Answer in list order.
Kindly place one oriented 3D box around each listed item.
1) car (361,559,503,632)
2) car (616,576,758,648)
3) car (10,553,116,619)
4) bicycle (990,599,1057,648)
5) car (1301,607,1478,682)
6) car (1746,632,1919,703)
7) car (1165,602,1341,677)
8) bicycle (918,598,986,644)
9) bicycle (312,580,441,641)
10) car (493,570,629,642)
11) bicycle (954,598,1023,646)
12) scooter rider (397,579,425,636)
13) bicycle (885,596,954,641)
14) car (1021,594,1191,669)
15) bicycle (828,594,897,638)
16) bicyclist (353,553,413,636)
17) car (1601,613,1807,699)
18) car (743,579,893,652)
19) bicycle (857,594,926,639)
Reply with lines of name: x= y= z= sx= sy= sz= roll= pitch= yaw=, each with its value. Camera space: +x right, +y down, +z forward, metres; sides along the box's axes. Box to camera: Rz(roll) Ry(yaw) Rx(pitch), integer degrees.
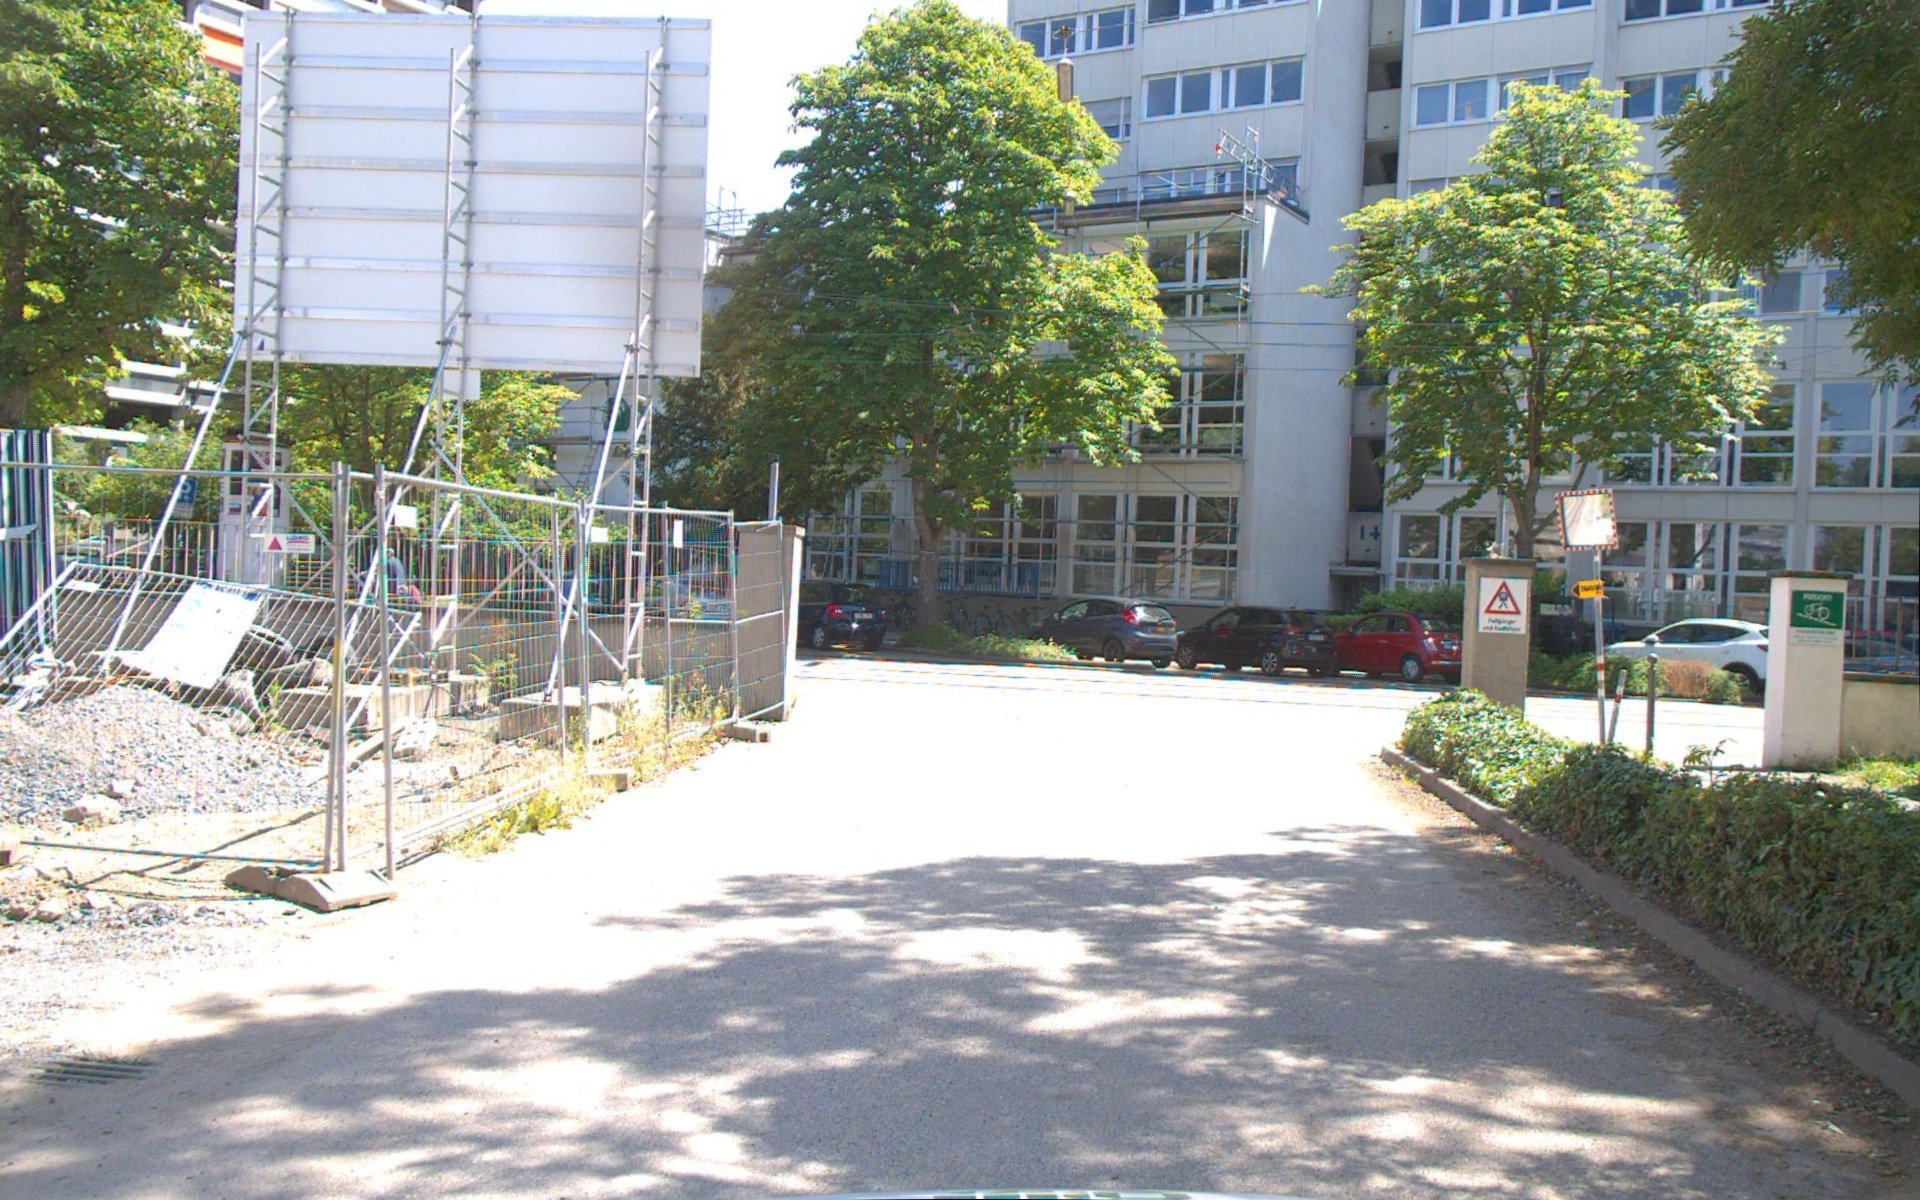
car: x=-11.762 y=-0.123 z=36.758 sx=1.625 sy=1.489 sz=3.621 roll=2 pitch=0 yaw=-42
car: x=-6.212 y=0.243 z=37.389 sx=1.622 sy=1.489 sz=3.628 roll=2 pitch=0 yaw=-38
car: x=-20.760 y=-0.345 z=38.224 sx=1.621 sy=1.411 sz=3.630 roll=2 pitch=0 yaw=-37
bicycle: x=1.681 y=0.618 z=43.387 sx=0.765 sy=1.208 sz=2.428 roll=2 pitch=0 yaw=28
car: x=9.386 y=0.955 z=36.323 sx=1.595 sy=1.462 sz=3.556 roll=2 pitch=0 yaw=-37
car: x=18.948 y=1.407 z=35.224 sx=1.595 sy=1.303 sz=3.696 roll=2 pitch=0 yaw=-37
car: x=6.403 y=0.840 z=36.362 sx=1.597 sy=1.470 sz=3.625 roll=2 pitch=0 yaw=-40
bicycle: x=-0.189 y=0.571 z=44.339 sx=0.765 sy=1.178 sz=2.381 roll=2 pitch=0 yaw=28
bicycle: x=-12.152 y=0.206 z=34.489 sx=2.382 sy=1.172 sz=0.786 roll=2 pitch=0 yaw=0
car: x=-9.019 y=0.123 z=37.243 sx=1.622 sy=1.489 sz=3.628 roll=2 pitch=0 yaw=-38
bicycle: x=0.769 y=0.589 z=43.859 sx=0.765 sy=1.208 sz=2.428 roll=2 pitch=0 yaw=28
scooter rider: x=-11.208 y=0.153 z=33.757 sx=0.407 sy=1.154 sz=0.359 roll=2 pitch=0 yaw=1
bicycle: x=-1.083 y=0.507 z=44.818 sx=0.765 sy=1.178 sz=2.381 roll=2 pitch=0 yaw=28
car: x=3.211 y=0.677 z=36.841 sx=1.631 sy=1.489 sz=3.620 roll=2 pitch=0 yaw=-43
bicycle: x=-2.670 y=0.443 z=45.667 sx=0.765 sy=1.178 sz=2.381 roll=2 pitch=0 yaw=28
bicyclist: x=-12.032 y=-0.110 z=34.499 sx=0.879 sy=1.695 sz=0.858 roll=2 pitch=0 yaw=1
car: x=15.911 y=1.164 z=35.469 sx=1.599 sy=1.648 sz=3.687 roll=2 pitch=0 yaw=-42
car: x=-3.238 y=0.326 z=37.180 sx=1.622 sy=1.489 sz=3.628 roll=2 pitch=0 yaw=-38
bicycle: x=-1.844 y=0.465 z=45.223 sx=0.765 sy=1.178 sz=2.381 roll=2 pitch=0 yaw=28
